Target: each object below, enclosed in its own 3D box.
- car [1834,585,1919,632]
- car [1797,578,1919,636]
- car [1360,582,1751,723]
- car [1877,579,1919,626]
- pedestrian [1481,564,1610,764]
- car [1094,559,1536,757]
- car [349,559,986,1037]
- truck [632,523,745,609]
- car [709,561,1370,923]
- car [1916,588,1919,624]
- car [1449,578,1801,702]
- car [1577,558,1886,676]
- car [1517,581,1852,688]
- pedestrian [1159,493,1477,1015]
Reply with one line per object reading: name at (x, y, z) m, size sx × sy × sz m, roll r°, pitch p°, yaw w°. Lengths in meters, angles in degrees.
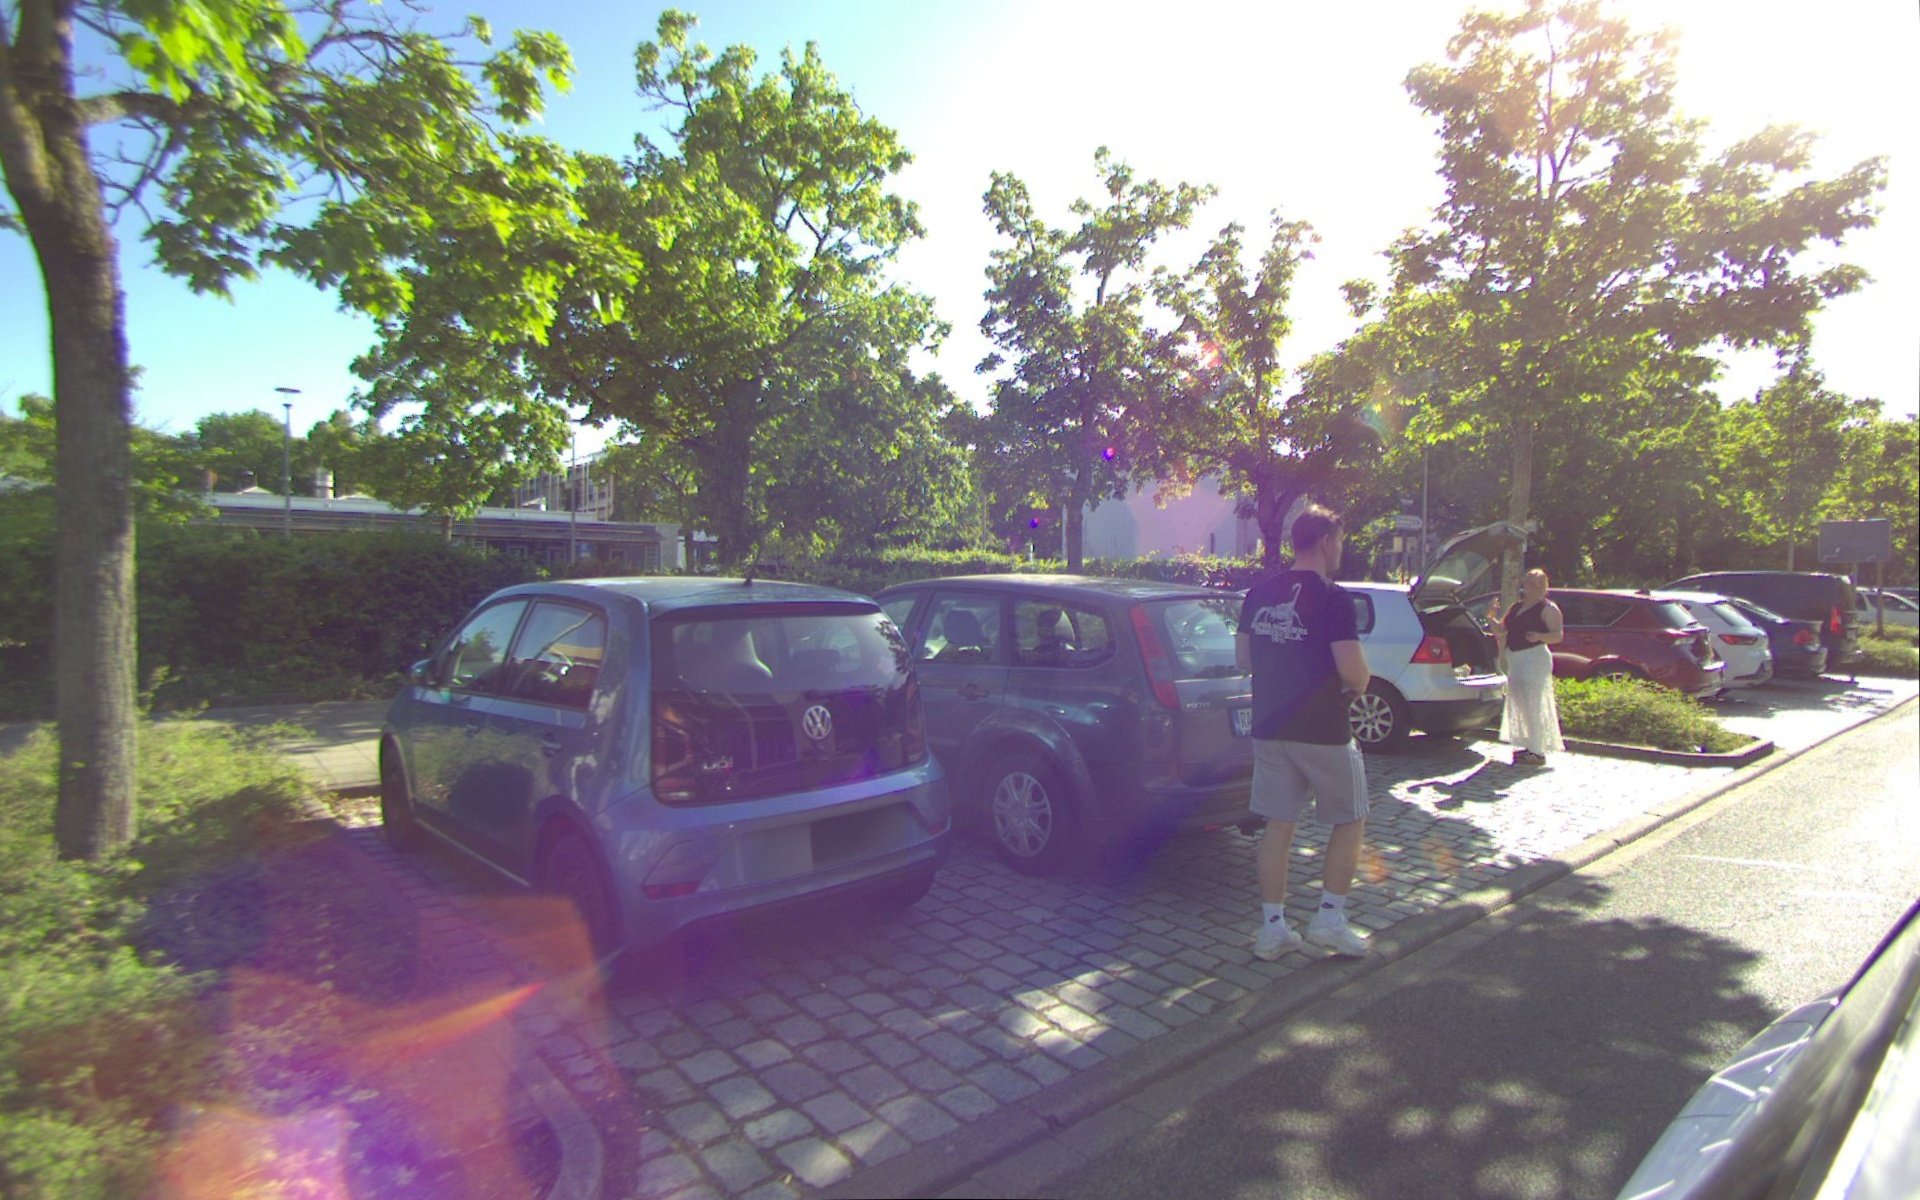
car at (31.213, 0.284, 32.808) m, size 1.798 × 1.423 × 4.162 m, roll -1°, pitch 3°, yaw -41°
car at (27.655, 0.193, 29.974) m, size 1.798 × 1.617 × 4.162 m, roll -1°, pitch 2°, yaw -41°
car at (7.247, 0.511, 12.613) m, size 1.644 × 1.444 × 3.905 m, roll -1°, pitch 2°, yaw -41°
car at (38.324, 0.140, 38.682) m, size 1.798 × 1.794 × 4.658 m, roll -1°, pitch 3°, yaw -41°
pedestrian at (4.985, 0.510, 8.621) m, size 0.662 × 1.599 × 0.765 m, roll 1°, pitch -1°, yaw -41°
car at (3.388, 0.441, 10.217) m, size 1.650 × 1.598 × 3.905 m, roll 1°, pitch 0°, yaw -41°
car at (-1.782, 0.589, 5.151) m, size 1.593 × 1.486 × 3.905 m, roll 1°, pitch 0°, yaw -41°
truck at (-13.291, -1.575, 49.177) m, size 2.760 × 3.855 × 6.919 m, roll 1°, pitch 0°, yaw -38°
car at (0.173, 0.537, 6.432) m, size 1.707 × 1.538 × 4.193 m, roll 0°, pitch 2°, yaw -41°
car at (42.022, 0.325, 41.630) m, size 1.738 × 1.492 × 3.781 m, roll -1°, pitch 3°, yaw -41°
car at (9.469, 0.460, 14.641) m, size 1.777 × 1.454 × 3.906 m, roll 0°, pitch 2°, yaw -41°
car at (13.958, 0.203, 18.513) m, size 1.847 × 1.869 × 4.164 m, roll 0°, pitch 2°, yaw -40°
car at (11.709, 0.453, 16.586) m, size 1.798 × 1.423 × 4.162 m, roll -1°, pitch 3°, yaw -41°
pedestrian at (1.469, 0.510, 4.113) m, size 1.148 × 1.793 × 0.720 m, roll -1°, pitch 2°, yaw -41°
